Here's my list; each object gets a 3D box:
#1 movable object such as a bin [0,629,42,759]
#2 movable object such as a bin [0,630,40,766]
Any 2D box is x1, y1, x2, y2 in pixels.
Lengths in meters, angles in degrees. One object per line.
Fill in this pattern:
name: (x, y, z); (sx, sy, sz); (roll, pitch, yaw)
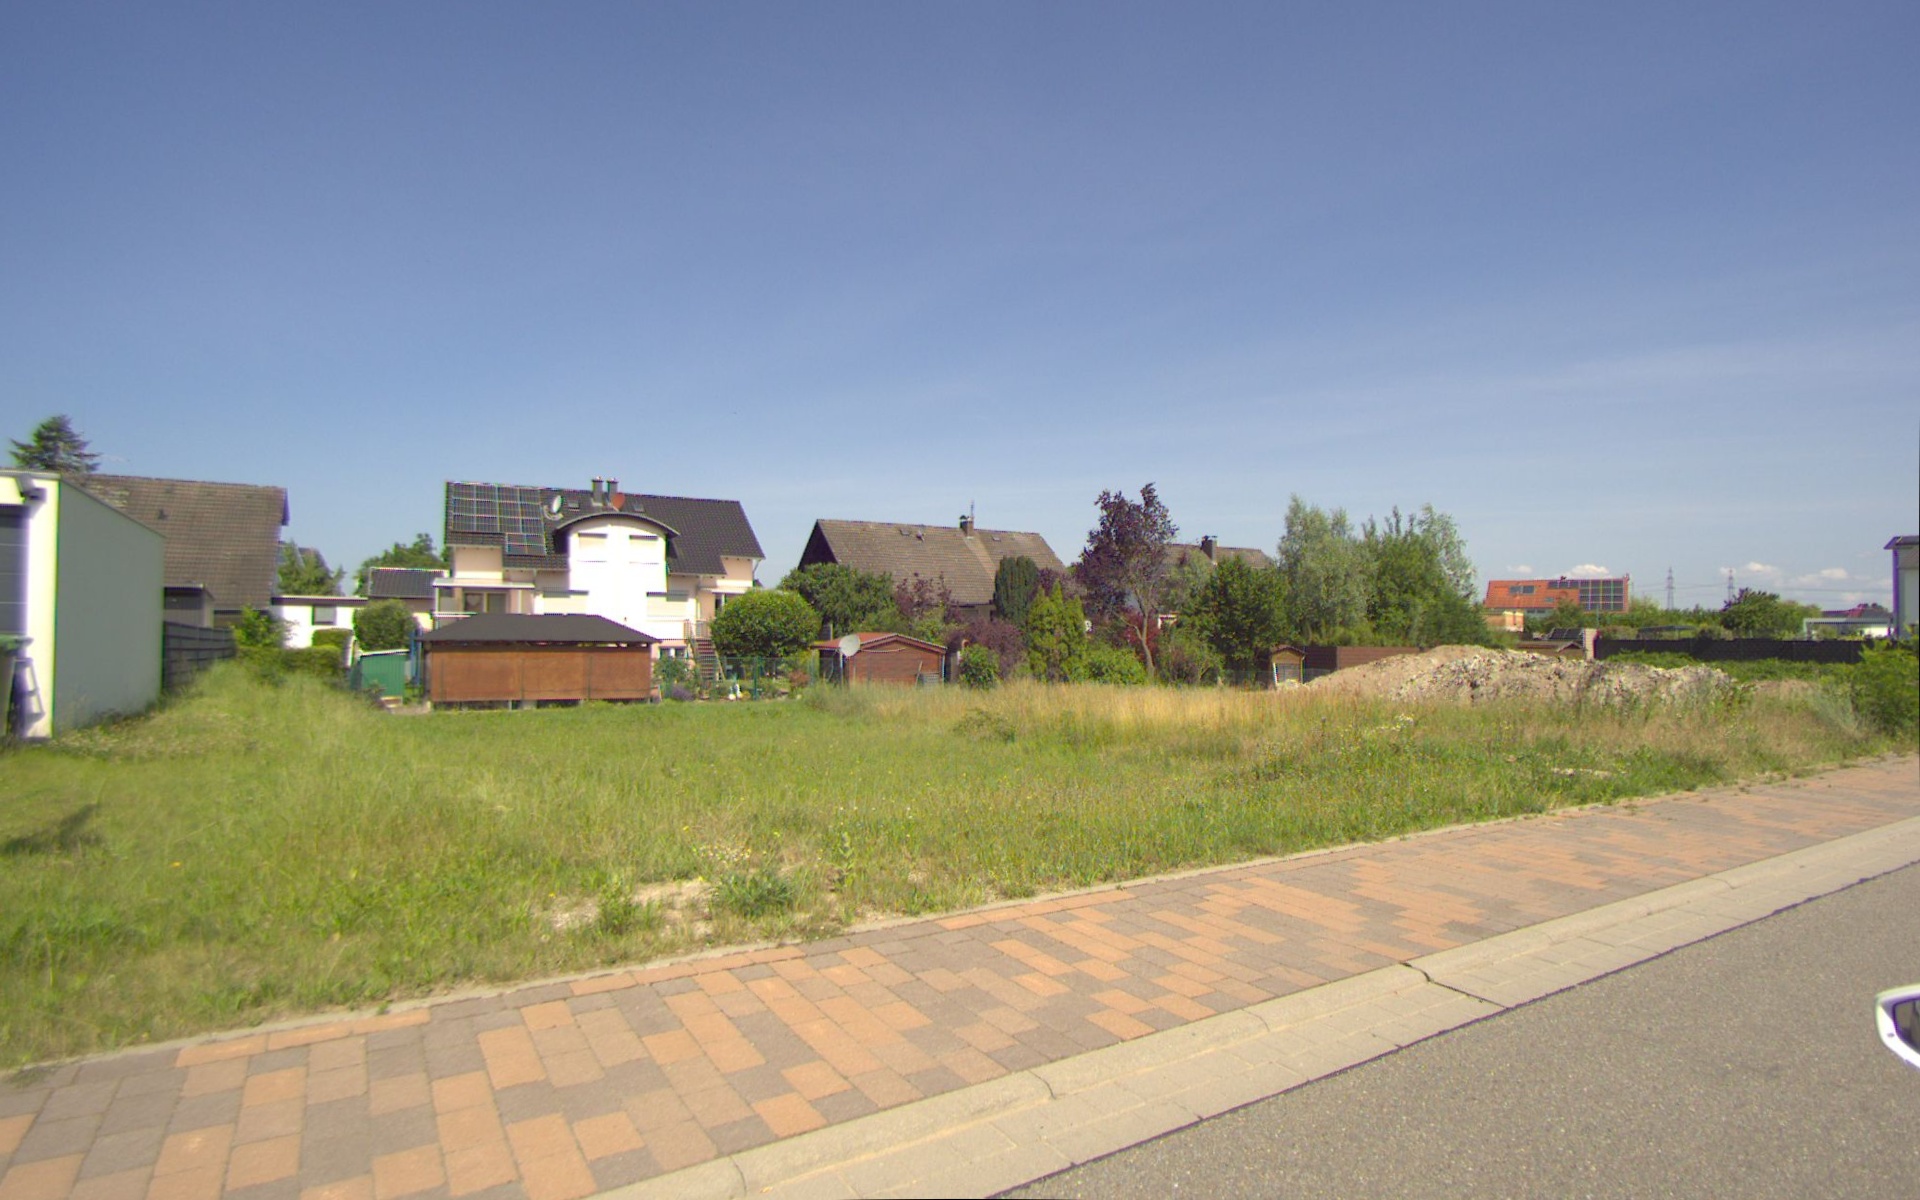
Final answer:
movable object such as a bin: (-8.674, 0.814, 8.786); (0.799, 1.113, 0.666); (2, -3, -31)
movable object such as a bin: (-8.243, 0.804, 8.325); (0.776, 1.113, 0.656); (2, -3, -33)
